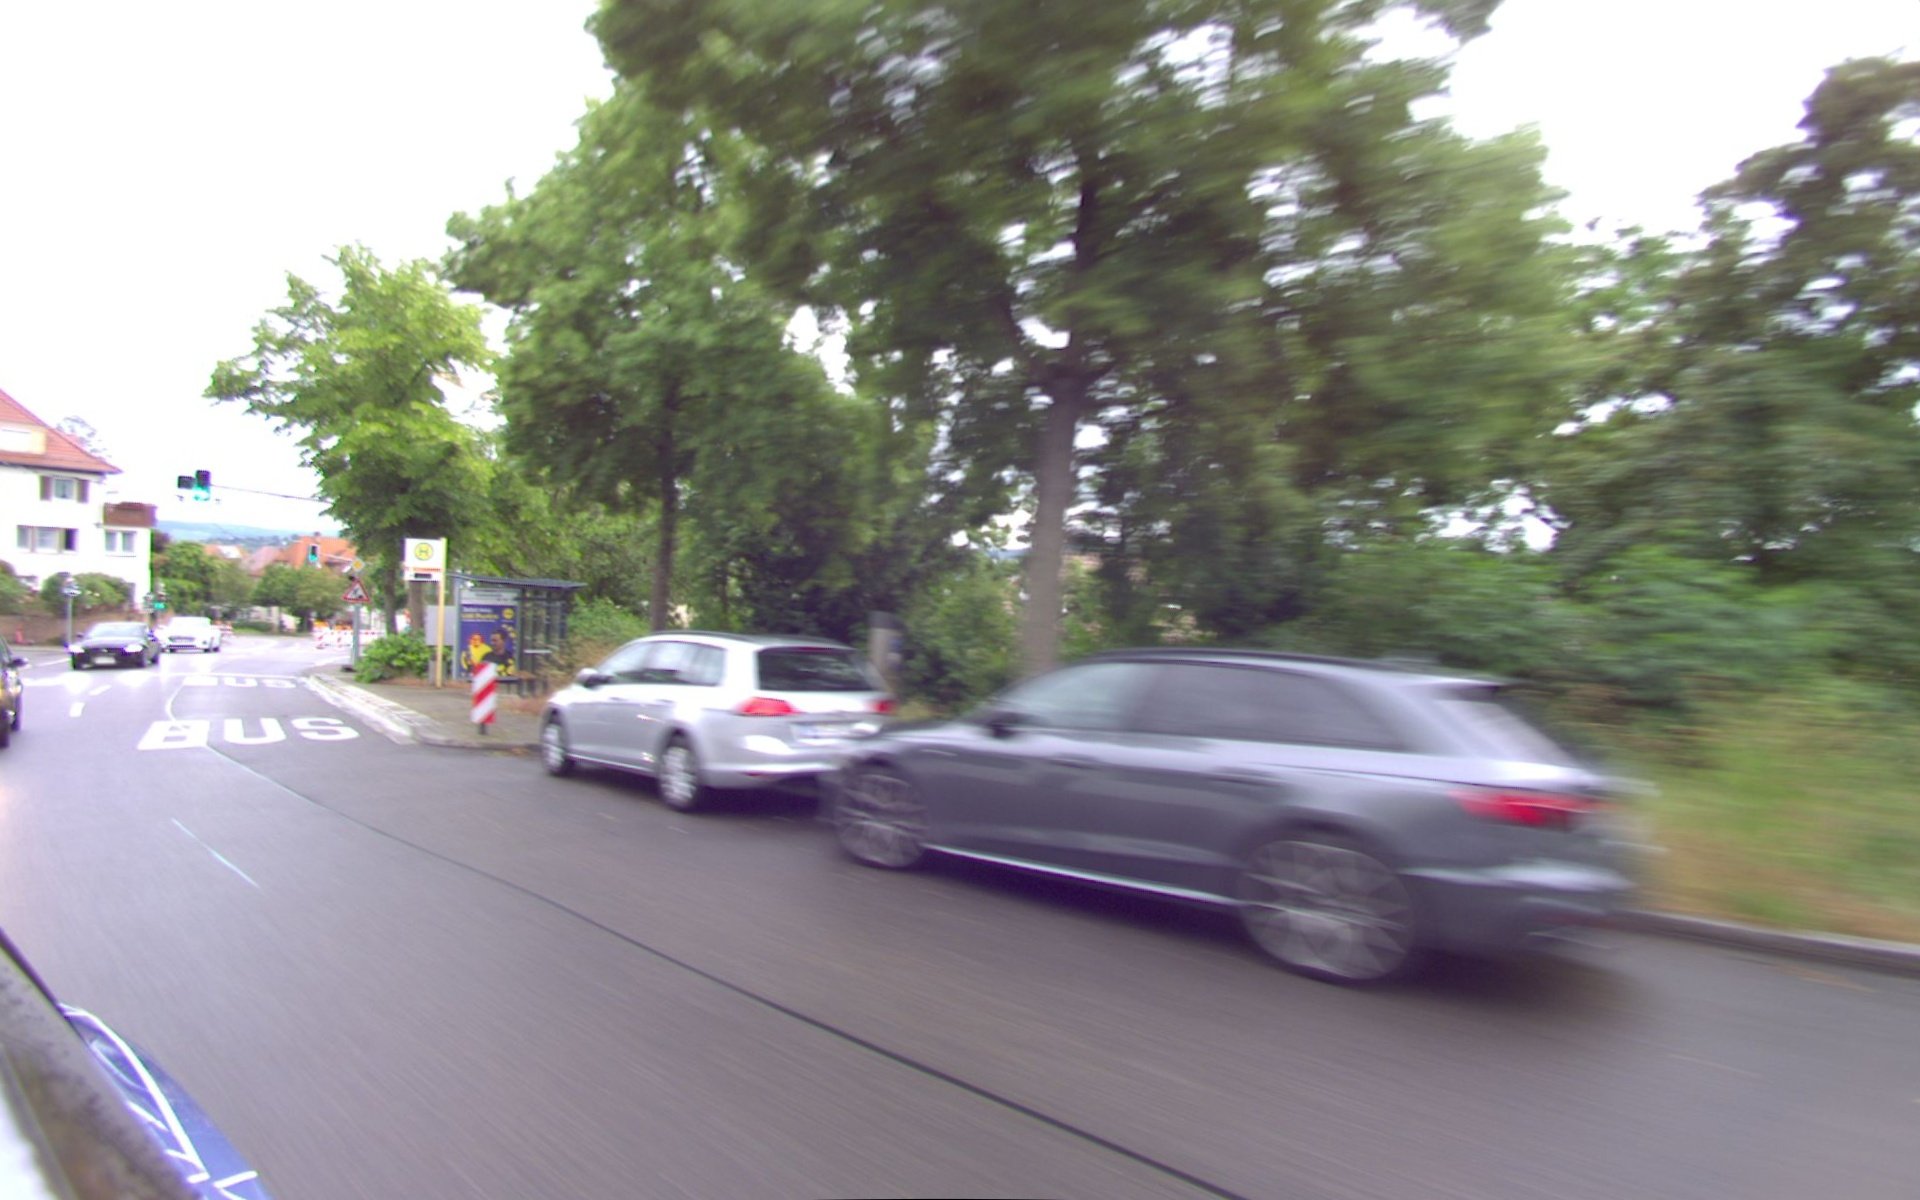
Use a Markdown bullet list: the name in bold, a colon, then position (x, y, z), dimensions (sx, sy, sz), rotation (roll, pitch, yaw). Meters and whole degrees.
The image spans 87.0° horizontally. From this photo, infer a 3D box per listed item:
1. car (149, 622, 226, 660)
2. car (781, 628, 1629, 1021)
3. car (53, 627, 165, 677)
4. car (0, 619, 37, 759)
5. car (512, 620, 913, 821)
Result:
- **car**: position (-35.333, 1.863, 46.404), dimensions (1.997, 1.641, 4.241), rotation (1, -2, -26)
- **car**: position (1.053, 0.915, 5.841), dimensions (4.500, 1.391, 1.665), rotation (-1, -5, 42)
- **car**: position (-27.456, 1.633, 32.784), dimensions (1.997, 1.474, 4.012), rotation (0, -1, -29)
- **car**: position (-12.462, 0.972, 12.210), dimensions (1.778, 1.437, 4.386), rotation (4, -2, -44)
- **car**: position (-2.499, 0.996, 9.462), dimensions (1.636, 1.441, 4.377), rotation (4, -5, -44)
